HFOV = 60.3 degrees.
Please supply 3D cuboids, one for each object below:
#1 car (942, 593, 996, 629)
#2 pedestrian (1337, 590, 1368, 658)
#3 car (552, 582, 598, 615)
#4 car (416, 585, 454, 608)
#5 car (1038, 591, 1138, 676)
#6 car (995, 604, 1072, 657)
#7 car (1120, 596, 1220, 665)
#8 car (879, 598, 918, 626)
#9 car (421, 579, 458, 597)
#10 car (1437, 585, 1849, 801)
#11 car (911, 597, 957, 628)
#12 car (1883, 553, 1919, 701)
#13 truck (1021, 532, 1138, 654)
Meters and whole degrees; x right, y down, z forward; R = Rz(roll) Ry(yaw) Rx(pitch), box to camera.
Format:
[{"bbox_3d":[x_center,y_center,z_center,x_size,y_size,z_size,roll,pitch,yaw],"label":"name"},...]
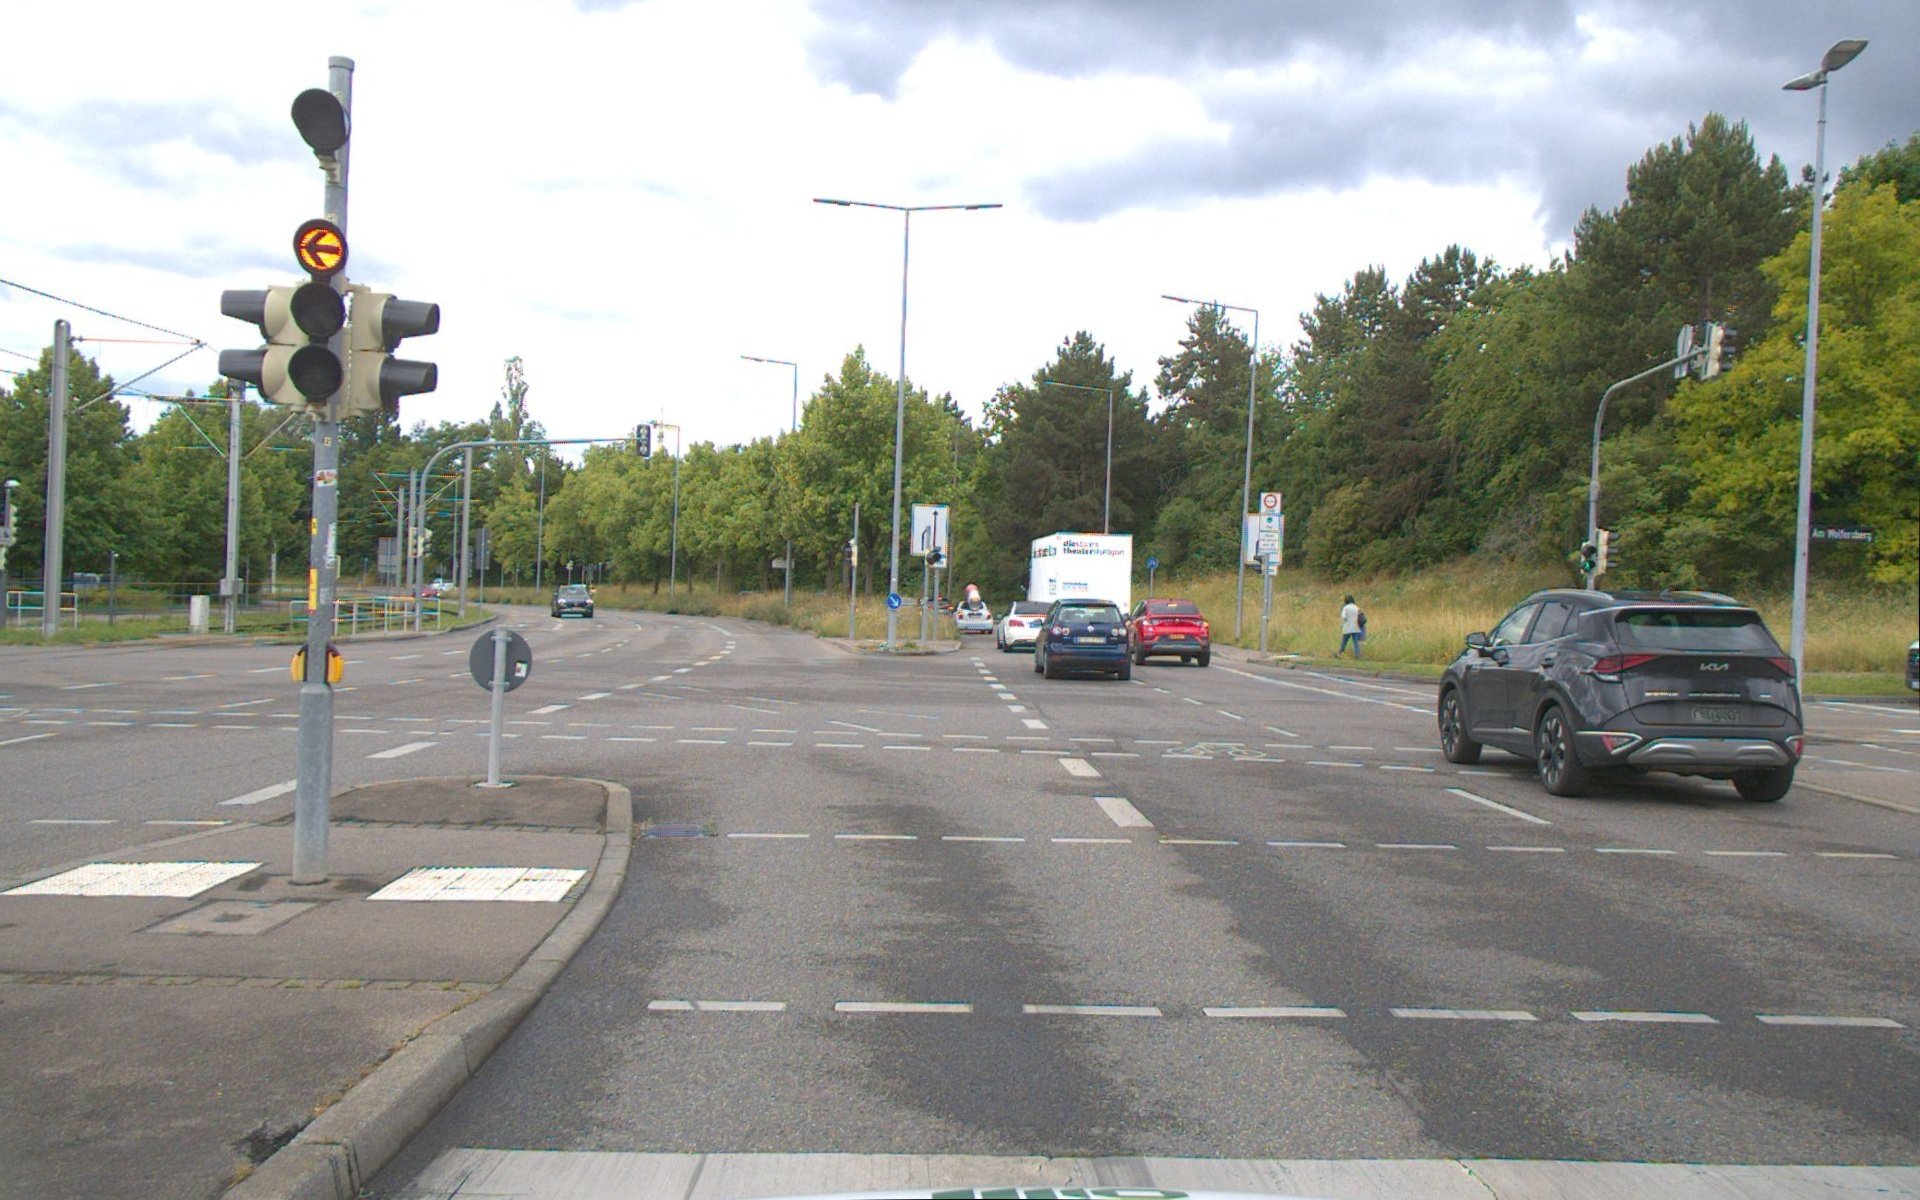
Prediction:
[{"bbox_3d":[0.365,0.491,73.616,1.788,1.532,3.485,1,0,-10],"label":"car"},{"bbox_3d":[9.852,0.594,41.534,0.630,1.691,0.714,1,-1,6],"label":"pedestrian"},{"bbox_3d":[-19.663,-0.077,84.369,1.769,1.615,3.975,1,0,-21],"label":"car"},{"bbox_3d":[-42.258,-0.306,133.060,1.855,1.823,3.953,1,0,-34],"label":"car"},{"bbox_3d":[2.565,0.655,33.918,1.631,1.626,3.995,1,0,-1],"label":"car"},{"bbox_3d":[2.094,0.864,48.266,1.764,1.436,4.314,1,0,-4],"label":"car"},{"bbox_3d":[5.089,0.704,40.577,1.809,1.556,4.376,1,0,-1],"label":"car"},{"bbox_3d":[-3.543,0.664,94.750,1.556,1.519,3.431,1,0,-14],"label":"car"},{"bbox_3d":[-50.232,-1.170,159.634,3.734,1.741,1.624,1,-1,40],"label":"car"},{"bbox_3d":[5.641,0.697,14.284,1.757,1.557,4.217,1,0,-1],"label":"car"},{"bbox_3d":[-1.376,0.630,86.236,1.596,1.519,3.824,1,0,-14],"label":"car"},{"bbox_3d":[20.201,0.536,30.070,5.685,2.676,2.000,1,-1,1],"label":"car"},{"bbox_3d":[4.114,-0.296,59.437,2.747,3.971,10.174,1,1,-4],"label":"truck"}]
